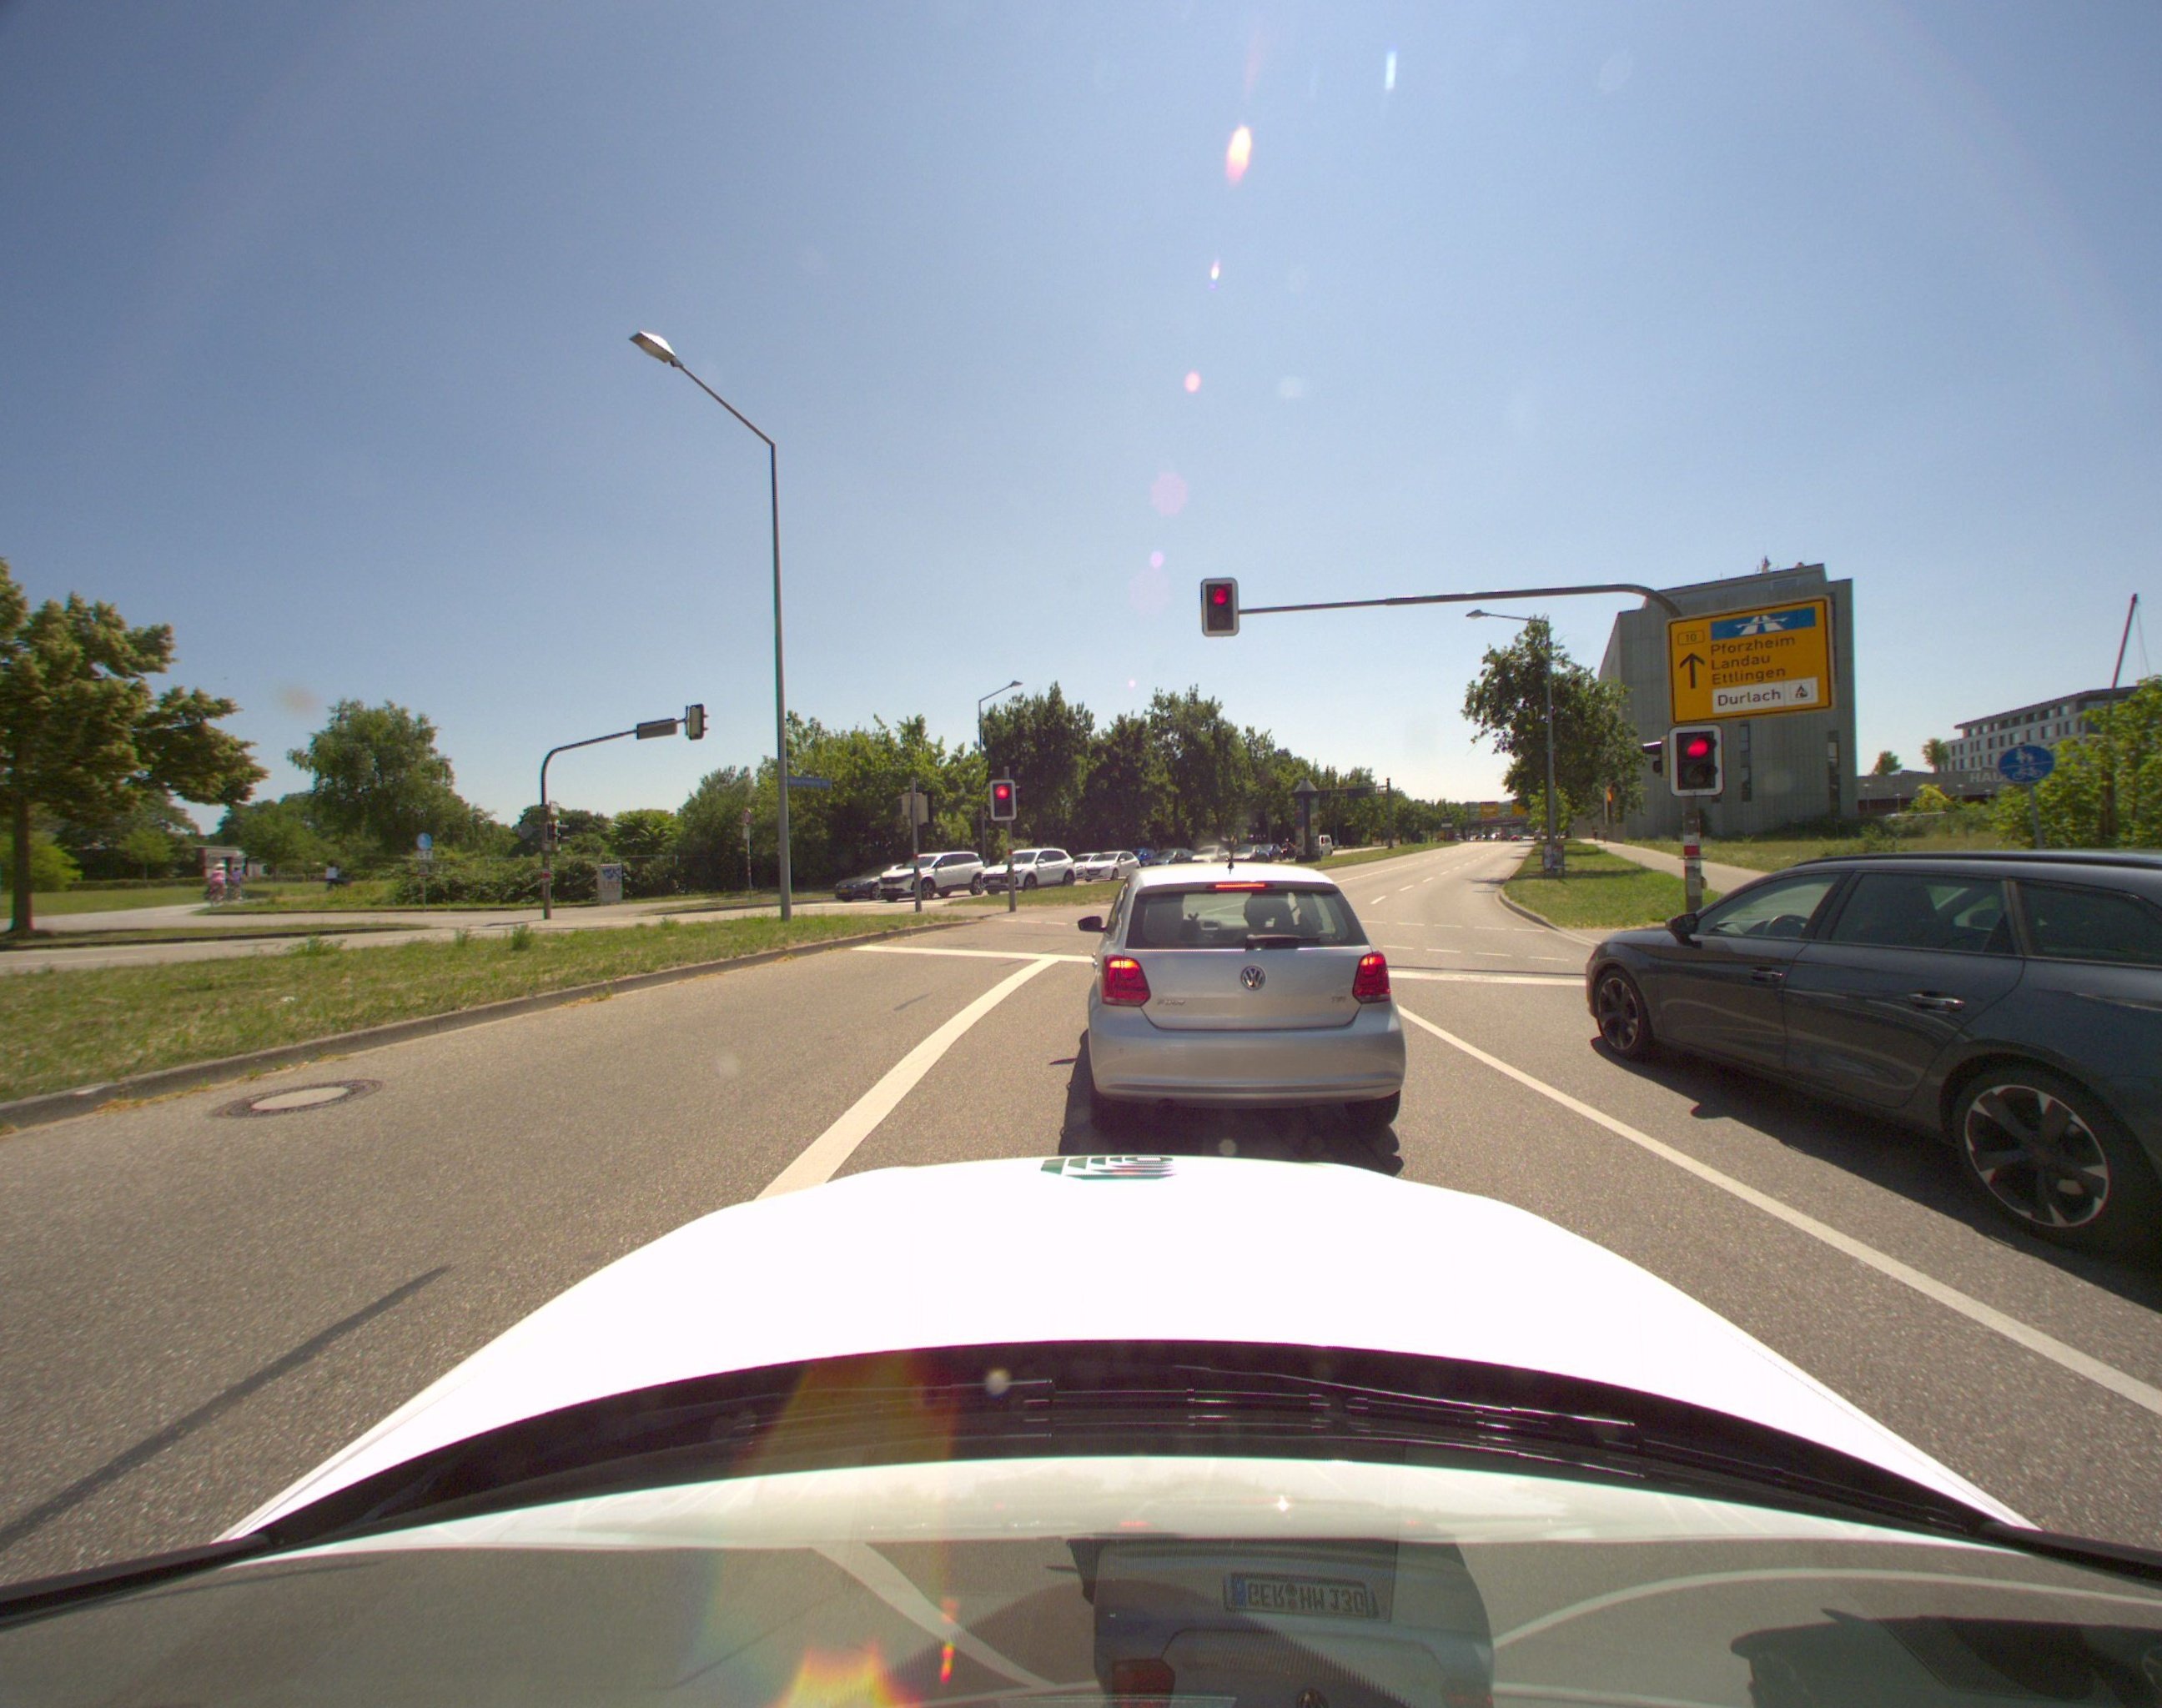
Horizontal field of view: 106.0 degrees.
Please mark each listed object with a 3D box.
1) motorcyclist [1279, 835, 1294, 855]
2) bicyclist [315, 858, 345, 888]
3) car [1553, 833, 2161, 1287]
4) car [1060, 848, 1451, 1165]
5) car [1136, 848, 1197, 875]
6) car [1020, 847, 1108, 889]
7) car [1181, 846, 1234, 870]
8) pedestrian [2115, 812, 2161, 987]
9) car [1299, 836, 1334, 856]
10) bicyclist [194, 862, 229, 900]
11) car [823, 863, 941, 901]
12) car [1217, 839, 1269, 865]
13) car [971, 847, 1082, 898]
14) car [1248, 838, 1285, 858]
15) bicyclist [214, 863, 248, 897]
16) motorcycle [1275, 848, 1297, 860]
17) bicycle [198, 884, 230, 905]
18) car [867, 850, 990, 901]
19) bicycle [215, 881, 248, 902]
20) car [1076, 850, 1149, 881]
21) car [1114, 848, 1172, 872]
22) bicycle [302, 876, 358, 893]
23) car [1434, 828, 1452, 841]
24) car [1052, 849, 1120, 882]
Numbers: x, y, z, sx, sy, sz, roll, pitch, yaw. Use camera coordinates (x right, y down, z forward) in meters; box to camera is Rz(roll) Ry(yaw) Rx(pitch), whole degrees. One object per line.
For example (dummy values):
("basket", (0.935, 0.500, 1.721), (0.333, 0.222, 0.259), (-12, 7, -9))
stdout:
("motorcyclist", (17.445, -0.749, 69.094), (0.897, 1.586, 1.016), (-3, -1, 32))
("bicyclist", (-41.744, 1.054, 45.272), (0.754, 1.614, 0.974), (-2, -1, -11))
("car", (4.574, 0.632, 4.177), (1.984, 1.418, 4.461), (-2, 1, 5))
("car", (0.951, 0.709, 5.797), (1.768, 1.422, 4.005), (-2, 1, 4))
("car", (5.096, 0.400, 47.810), (1.840, 1.422, 4.436), (-2, 0, 31))
("car", (-0.678, 0.596, 36.494), (1.840, 1.683, 4.436), (-2, 0, 31))
("car", (8.367, 0.246, 53.542), (1.840, 1.422, 4.436), (-2, 0, 31))
("pedestrian", (10.589, 0.401, 7.558), (0.944, 1.637, 0.762), (-3, -1, 31))
("car", (18.947, -0.667, 65.410), (1.845, 1.554, 4.025), (-1, 0, 29))
("bicyclist", (-37.918, 1.173, 35.527), (1.171, 1.610, 0.966), (-3, -1, 44))
("car", (-7.692, 1.060, 31.896), (1.840, 1.270, 4.436), (-2, 0, 31))
("car", (10.154, -0.134, 50.813), (1.951, 1.488, 4.025), (-1, 0, 30))
("car", (-1.923, 0.623, 30.093), (1.840, 1.683, 4.436), (-2, 0, 31))
("car", (14.618, -0.478, 64.102), (1.699, 1.475, 3.821), (-3, -1, 29))
("bicyclist", (-40.427, 1.205, 38.760), (0.965, 1.531, 1.172), (-2, 1, -41))
("motorcycle", (17.401, -0.037, 68.955), (0.886, 0.952, 2.834), (-3, -1, 33))
("bicycle", (-37.929, 1.769, 35.658), (2.198, 0.900, 0.904), (-3, -2, 44))
("car", (-5.371, 0.707, 29.306), (1.840, 1.618, 4.436), (-2, 0, 31))
("bicycle", (-40.416, 1.774, 38.757), (0.903, 0.900, 1.742), (0, 0, -40))
("car", (1.711, 0.564, 42.112), (1.840, 1.422, 4.436), (-2, 0, 31))
("car", (4.003, 0.367, 51.922), (1.840, 1.422, 4.436), (-2, 0, 31))
("bicycle", (-41.703, 1.677, 45.287), (0.738, 0.912, 2.920), (-3, -1, -9))
("car", (52.105, -2.769, 117.280), (1.783, 1.692, 4.168), (-3, -1, 31))
("car", (0.355, 0.610, 46.304), (1.840, 1.683, 4.436), (-2, 0, 31))
